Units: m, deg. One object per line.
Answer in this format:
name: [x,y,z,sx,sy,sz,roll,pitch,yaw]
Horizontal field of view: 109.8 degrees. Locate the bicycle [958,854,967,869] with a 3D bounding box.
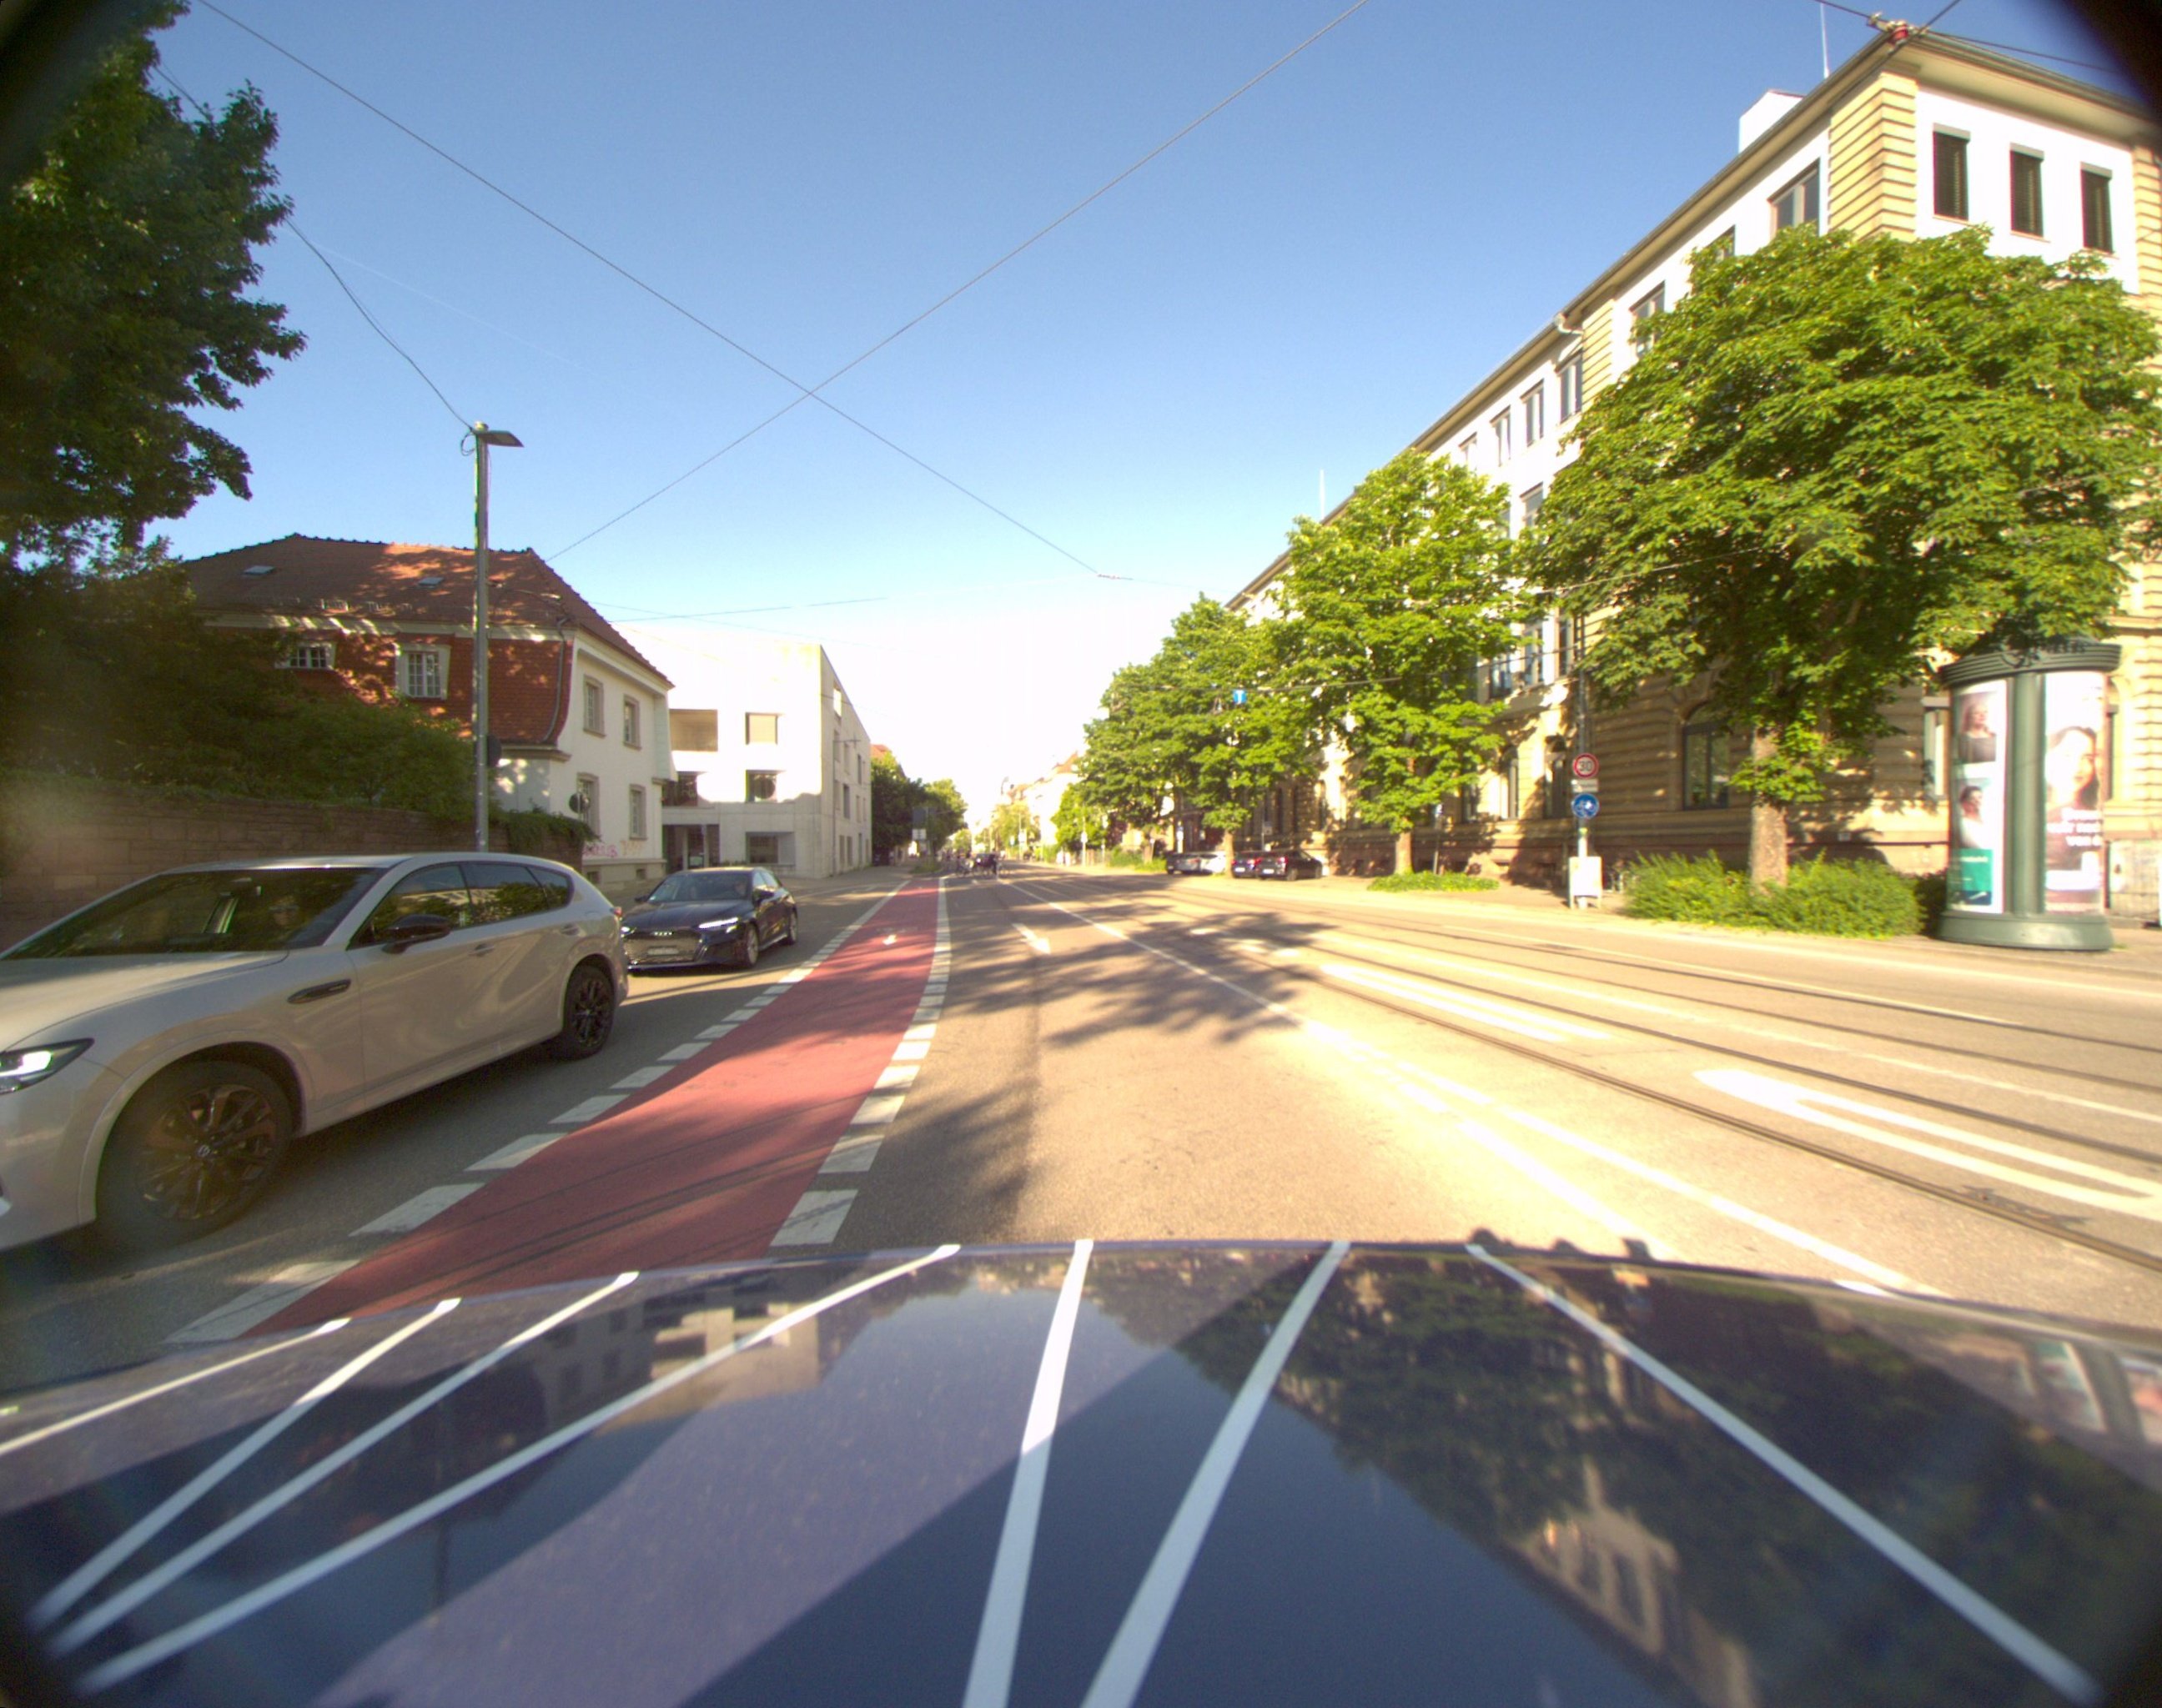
bicycle: [-10.229,0.609,65.628,0.676,1.243,2.454,0,1,-8]

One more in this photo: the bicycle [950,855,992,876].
bicycle: [-6.780,0.670,46.732,2.459,1.243,0.675,0,1,-23]

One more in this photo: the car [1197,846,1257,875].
car: [8.891,0.383,46.126,3.657,1.552,1.645,-3,1,-43]

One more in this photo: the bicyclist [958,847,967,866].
bicyclist: [-10.232,0.228,65.631,0.676,1.638,1.028,0,1,-8]

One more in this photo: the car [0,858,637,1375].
car: [-4.807,0.935,4.470,1.946,1.682,4.529,-2,1,-5]

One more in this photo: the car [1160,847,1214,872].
car: [7.236,0.354,51.767,3.657,1.552,1.645,-3,1,-43]

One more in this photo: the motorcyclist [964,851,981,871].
motorcyclist: [-6.692,0.434,46.766,0.855,1.243,0.675,-1,1,-23]

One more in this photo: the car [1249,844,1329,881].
car: [10.383,0.401,37.750,4.189,1.621,1.841,-3,1,-43]

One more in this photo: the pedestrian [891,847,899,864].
pedestrian: [-18.697,0.131,76.352,0.676,1.638,0.817,-1,1,-9]

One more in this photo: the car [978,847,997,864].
car: [-9.131,0.091,74.402,1.649,1.552,3.648,-2,1,-5]

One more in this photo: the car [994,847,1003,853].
car: [-21.137,-0.945,194.750,1.650,1.552,3.646,-2,1,-12]

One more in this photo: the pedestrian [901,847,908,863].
pedestrian: [-17.793,0.104,76.598,0.676,1.638,0.817,-1,1,-9]

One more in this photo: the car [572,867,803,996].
car: [-5.621,0.995,11.478,1.789,1.425,3.997,-2,1,-8]

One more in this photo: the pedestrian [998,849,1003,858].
pedestrian: [-15.116,-0.069,142.705,0.675,1.638,0.817,-1,1,0]

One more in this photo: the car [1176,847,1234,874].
car: [7.912,0.383,48.357,3.657,1.552,1.645,-3,1,-43]

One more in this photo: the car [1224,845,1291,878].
car: [9.419,0.384,40.410,3.657,1.552,1.645,-3,1,-43]

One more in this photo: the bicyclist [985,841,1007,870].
bicyclist: [-4.782,0.092,42.992,1.031,1.638,0.674,-1,1,-37]

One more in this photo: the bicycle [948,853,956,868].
bicycle: [-11.211,0.556,66.153,0.676,1.243,2.454,0,1,-8]

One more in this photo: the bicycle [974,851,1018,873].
bicycle: [-4.797,0.443,42.985,2.461,1.243,0.674,-1,1,-37]

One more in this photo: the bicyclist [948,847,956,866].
bicyclist: [-11.195,0.233,66.042,0.676,1.638,1.028,0,1,-8]

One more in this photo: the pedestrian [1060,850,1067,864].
pedestrian: [-1.953,0.331,84.511,0.676,1.638,0.817,-1,1,-9]

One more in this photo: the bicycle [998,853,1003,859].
bicycle: [-15.108,0.376,142.765,0.676,1.243,2.456,-1,1,0]
